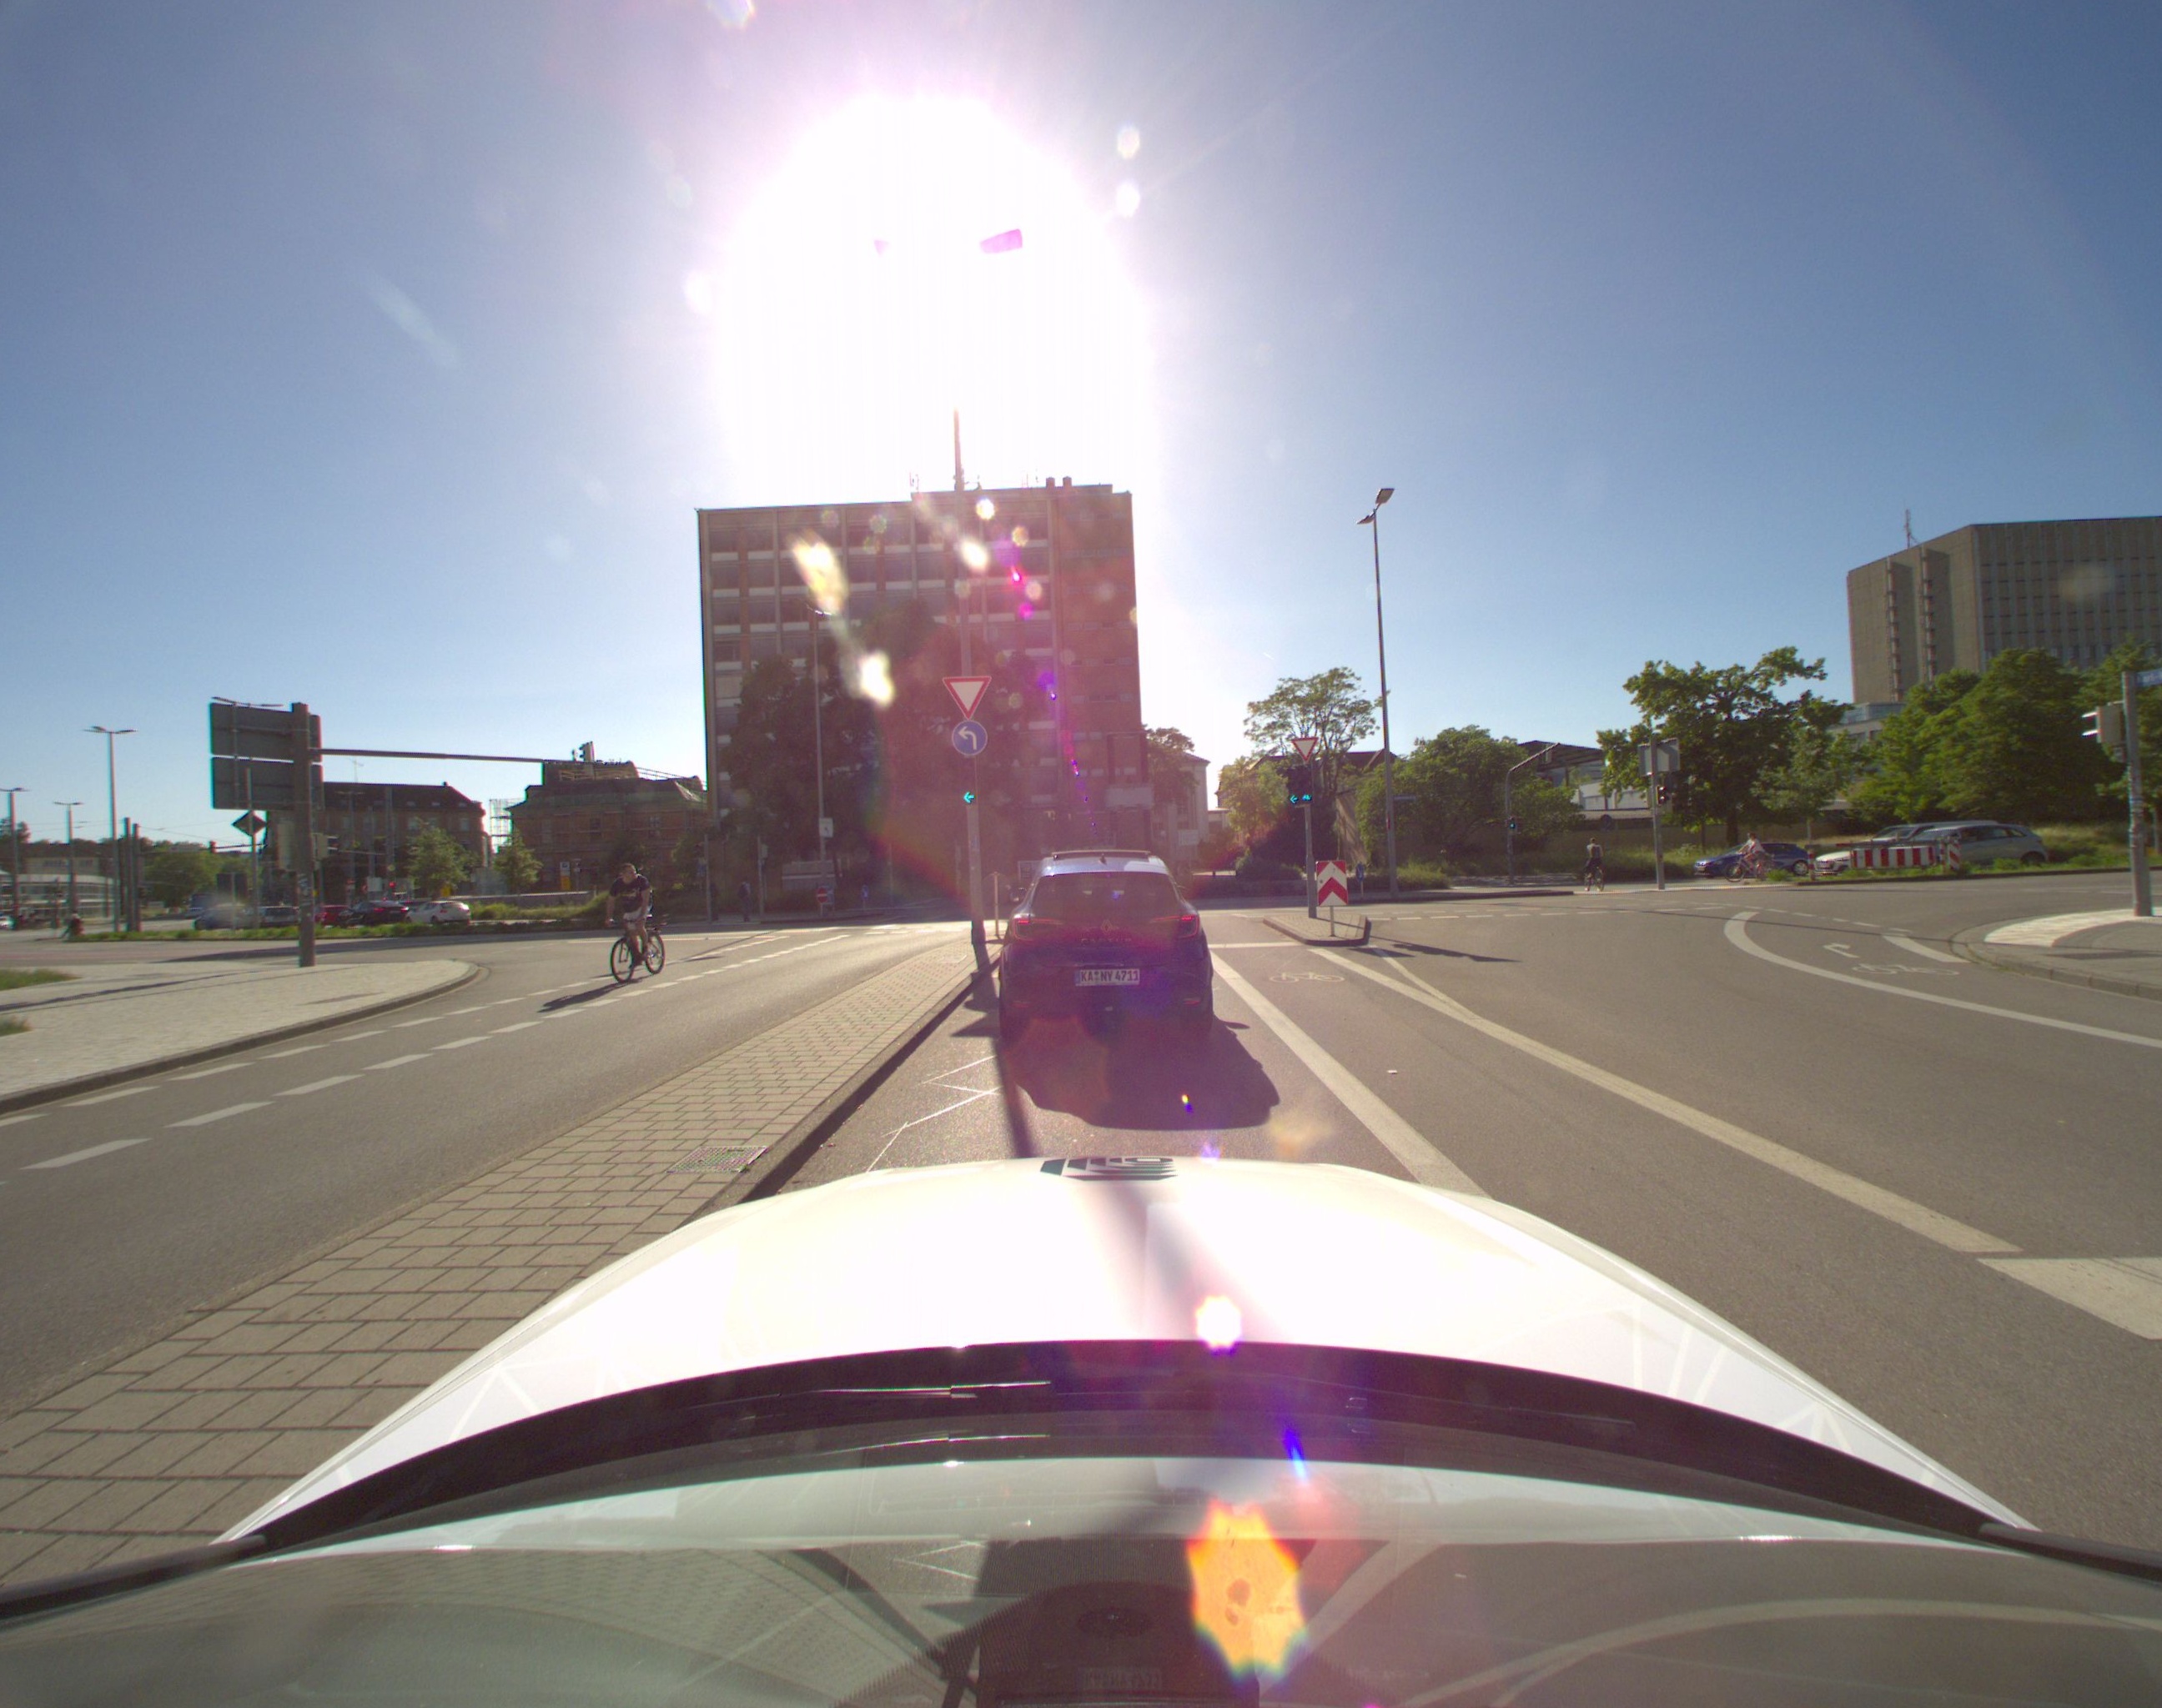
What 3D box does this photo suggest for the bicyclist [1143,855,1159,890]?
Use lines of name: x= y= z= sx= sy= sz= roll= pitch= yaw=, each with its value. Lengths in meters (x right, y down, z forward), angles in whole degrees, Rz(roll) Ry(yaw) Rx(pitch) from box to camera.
bicyclist: x=3.599 y=0.952 z=41.889 sx=0.717 sy=1.735 sz=0.978 roll=-2 pitch=-1 yaw=2

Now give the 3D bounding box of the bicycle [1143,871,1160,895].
bicycle: x=3.631 y=1.468 z=41.956 sx=0.743 sy=1.165 sz=1.871 roll=-2 pitch=-1 yaw=3

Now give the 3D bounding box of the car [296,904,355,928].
car: x=-48.073 y=3.946 z=51.795 sx=3.674 sy=1.443 sz=1.687 roll=-3 pitch=-3 yaw=29

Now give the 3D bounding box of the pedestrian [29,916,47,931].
pedestrian: x=-101.623 y=6.752 z=79.342 sx=0.689 sy=1.408 sz=0.865 roll=0 pitch=-1 yaw=0

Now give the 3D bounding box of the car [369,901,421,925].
car: x=-50.393 y=4.332 z=59.825 sx=3.578 sy=1.618 sz=1.894 roll=-4 pitch=-3 yaw=31

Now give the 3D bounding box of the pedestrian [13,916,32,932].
pedestrian: x=-101.648 y=6.726 z=78.235 sx=0.689 sy=1.408 sz=0.865 roll=0 pitch=-1 yaw=0

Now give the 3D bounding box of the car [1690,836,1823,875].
car: x=28.168 y=0.091 z=34.077 sx=3.967 sy=1.442 sz=1.707 roll=-2 pitch=-2 yaw=5

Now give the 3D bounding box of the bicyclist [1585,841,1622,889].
bicyclist: x=16.395 y=0.345 z=25.581 sx=0.638 sy=1.444 sz=0.778 roll=-3 pitch=1 yaw=6

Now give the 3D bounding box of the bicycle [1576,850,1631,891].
bicycle: x=16.410 y=0.494 z=25.627 sx=0.638 sy=1.165 sz=1.873 roll=-3 pitch=1 yaw=6

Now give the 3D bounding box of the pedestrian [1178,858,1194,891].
pedestrian: x=5.671 y=1.105 z=44.016 sx=0.727 sy=1.782 sz=0.735 roll=-1 pitch=-1 yaw=19

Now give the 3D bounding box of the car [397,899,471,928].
car: x=-36.501 y=3.341 z=45.916 sx=3.691 sy=1.436 sz=1.706 roll=-3 pitch=-1 yaw=24

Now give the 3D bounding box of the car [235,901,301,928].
car: x=-48.833 y=3.664 z=48.922 sx=3.750 sy=1.442 sz=1.741 roll=-3 pitch=-1 yaw=28

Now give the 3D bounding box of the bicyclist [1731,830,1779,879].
bicyclist: x=24.018 y=0.019 z=29.038 sx=0.970 sy=1.685 sz=0.747 roll=-4 pitch=-1 yaw=3

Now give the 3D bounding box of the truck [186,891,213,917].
truck: x=-131.479 y=7.407 z=121.445 sx=5.159 sy=3.675 sz=2.618 roll=-1 pitch=-1 yaw=42

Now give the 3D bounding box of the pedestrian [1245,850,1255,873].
pedestrian: x=12.182 y=0.559 z=58.773 sx=0.670 sy=1.643 sz=0.739 roll=-1 pitch=-1 yaw=15

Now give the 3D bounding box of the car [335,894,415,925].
car: x=-42.555 y=3.329 z=49.077 sx=4.324 sy=1.624 sz=2.002 roll=-3 pitch=-1 yaw=24

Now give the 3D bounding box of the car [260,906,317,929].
car: x=-53.464 y=4.263 z=54.934 sx=3.750 sy=1.443 sz=1.741 roll=-3 pitch=-3 yaw=29

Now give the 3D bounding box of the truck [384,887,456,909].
truck: x=-85.560 y=5.670 z=105.570 sx=2.194 sy=2.313 sz=6.923 roll=-3 pitch=-1 yaw=24

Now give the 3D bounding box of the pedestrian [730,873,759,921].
pedestrian: x=-13.455 y=1.719 z=32.585 sx=0.753 sy=1.833 sz=1.093 roll=-2 pitch=-2 yaw=-6

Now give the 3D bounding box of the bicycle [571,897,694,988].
bicycle: x=-6.851 y=1.307 z=12.566 sx=0.743 sy=1.165 sz=1.871 roll=-4 pitch=-1 yaw=2

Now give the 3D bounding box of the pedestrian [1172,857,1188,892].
pedestrian: x=5.253 y=1.086 z=43.168 sx=0.727 sy=1.816 sz=0.735 roll=-1 pitch=-1 yaw=19

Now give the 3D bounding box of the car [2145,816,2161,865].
car: x=36.867 y=-0.548 z=25.283 sx=4.685 sy=1.554 sz=1.986 roll=-2 pitch=-2 yaw=5

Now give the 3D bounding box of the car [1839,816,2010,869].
car: x=34.829 y=-0.438 z=33.751 sx=4.718 sy=1.953 sz=1.942 roll=-2 pitch=-2 yaw=5

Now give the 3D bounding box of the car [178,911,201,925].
car: x=-110.916 y=7.950 z=101.293 sx=3.594 sy=1.544 sz=1.797 roll=-1 pitch=-1 yaw=44

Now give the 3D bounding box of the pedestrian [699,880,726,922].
pedestrian: x=-14.800 y=1.883 z=32.709 sx=0.710 sy=1.612 sz=0.686 roll=-4 pitch=-2 yaw=31

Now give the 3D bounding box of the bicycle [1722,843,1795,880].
bicycle: x=24.131 y=0.277 z=29.030 sx=1.856 sy=1.165 sz=0.749 roll=-4 pitch=-1 yaw=3

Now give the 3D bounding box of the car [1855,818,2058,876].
car: x=28.027 y=-0.198 z=26.193 sx=4.281 sy=1.625 sz=1.792 roll=-2 pitch=-2 yaw=5

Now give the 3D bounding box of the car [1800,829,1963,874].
car: x=30.323 y=-0.068 z=30.992 sx=3.962 sy=1.469 sz=2.005 roll=-3 pitch=-1 yaw=10

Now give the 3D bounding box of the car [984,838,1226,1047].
car: x=0.242 y=0.698 z=8.216 sx=1.870 sy=1.617 sz=3.799 roll=0 pitch=0 yaw=2

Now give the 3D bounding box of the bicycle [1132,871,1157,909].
bicycle: x=2.100 y=1.193 z=27.246 sx=0.713 sy=1.165 sz=1.871 roll=-2 pitch=-1 yaw=2

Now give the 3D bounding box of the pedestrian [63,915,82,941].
pedestrian: x=-65.161 y=4.756 z=52.617 sx=0.668 sy=1.611 sz=0.659 roll=-1 pitch=-1 yaw=27

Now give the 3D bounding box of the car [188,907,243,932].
car: x=-54.998 y=4.176 z=51.734 sx=3.859 sy=1.443 sz=1.741 roll=-4 pitch=-3 yaw=33

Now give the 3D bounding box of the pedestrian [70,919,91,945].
pedestrian: x=-62.976 y=4.911 z=51.268 sx=0.565 sy=1.611 sz=0.573 roll=0 pitch=-1 yaw=1

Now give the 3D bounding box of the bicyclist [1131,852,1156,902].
bicyclist: x=2.078 y=0.772 z=27.271 sx=0.717 sy=1.617 sz=0.978 roll=-2 pitch=-1 yaw=1

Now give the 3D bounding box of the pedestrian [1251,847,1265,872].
pedestrian: x=12.071 y=0.378 z=55.546 sx=0.669 sy=1.643 sz=0.740 roll=-1 pitch=-1 yaw=45

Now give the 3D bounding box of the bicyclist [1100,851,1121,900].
bicyclist: x=1.092 y=0.806 z=30.304 sx=0.717 sy=1.763 sz=0.978 roll=-2 pitch=-1 yaw=1

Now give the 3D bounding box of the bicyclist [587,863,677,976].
bicyclist: x=-6.872 y=0.976 z=12.510 sx=0.717 sy=1.621 sz=0.978 roll=-4 pitch=-1 yaw=1
